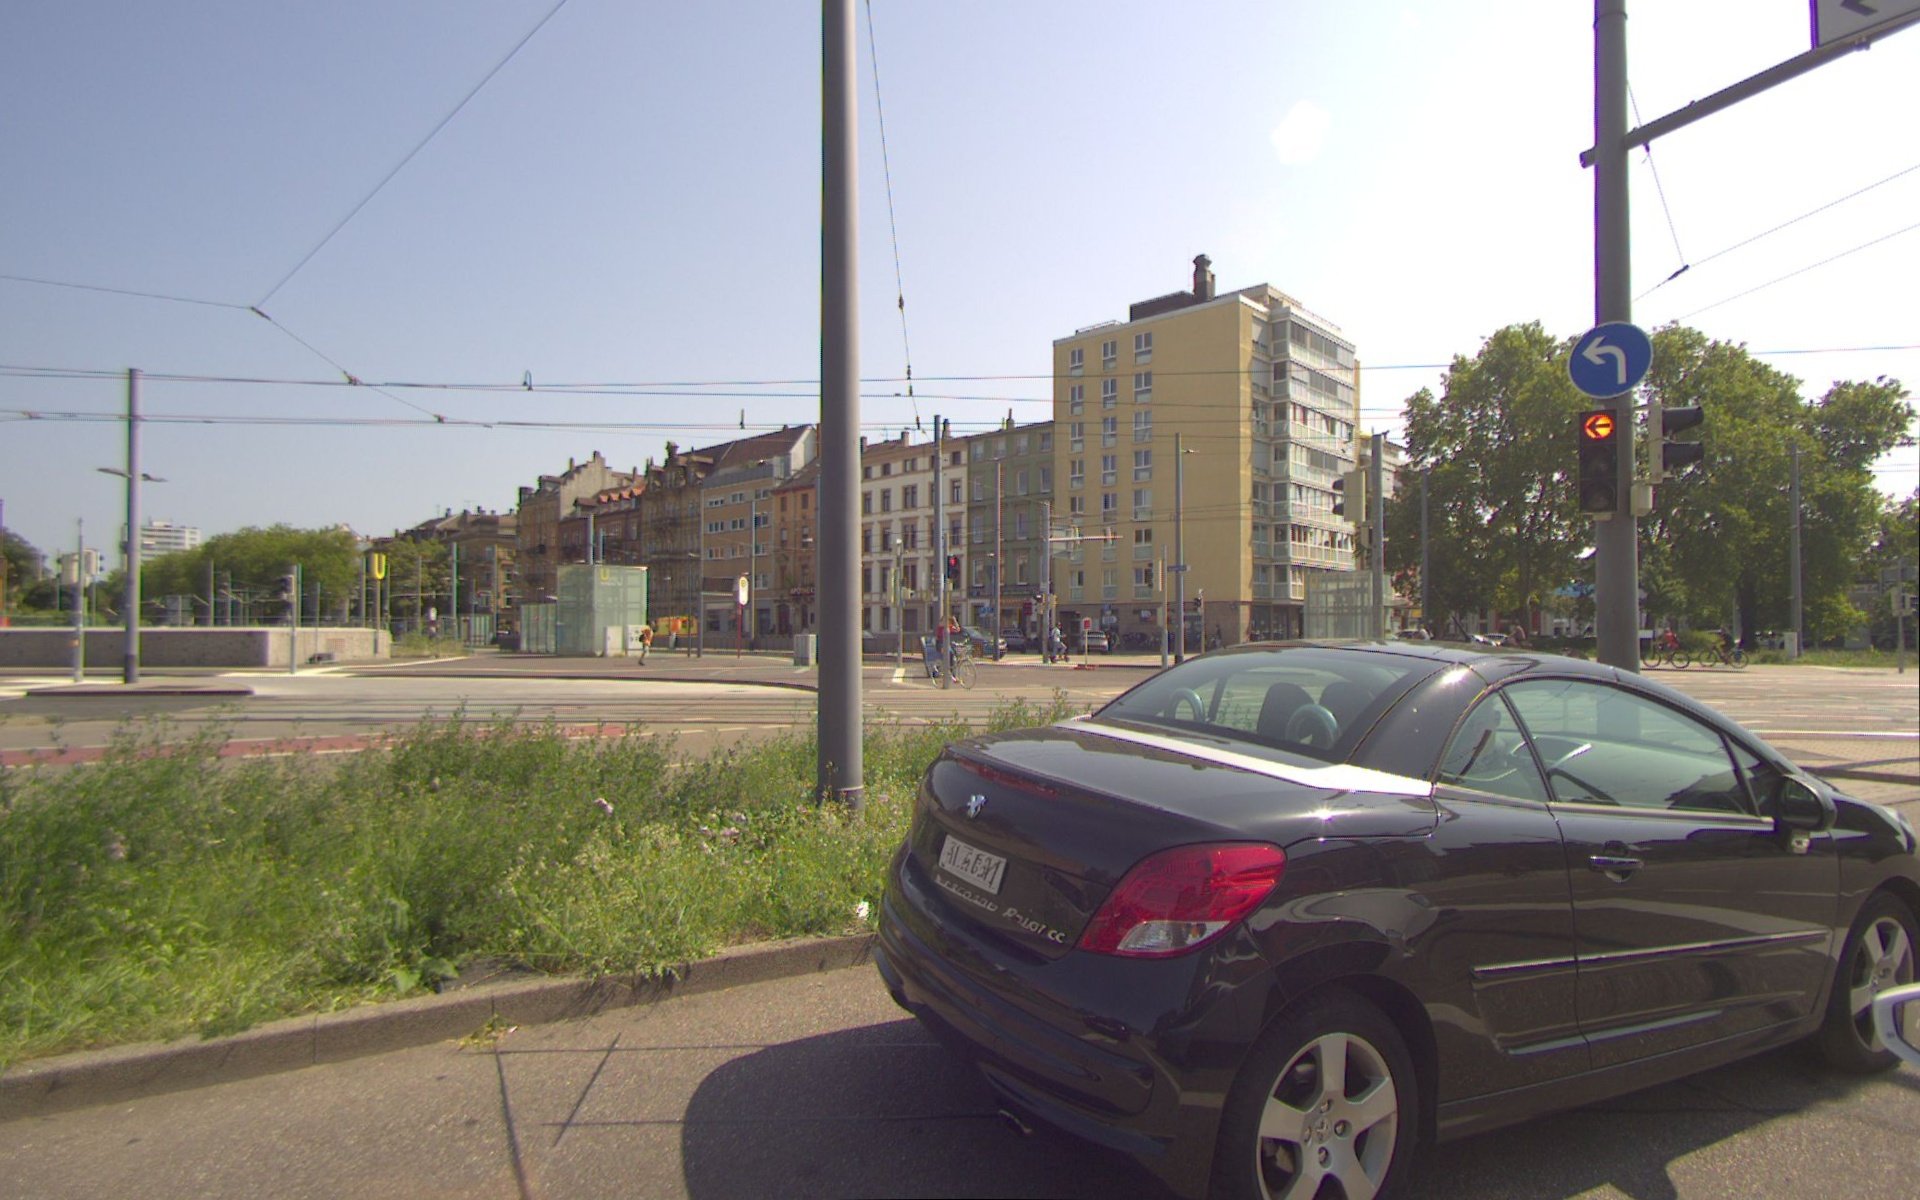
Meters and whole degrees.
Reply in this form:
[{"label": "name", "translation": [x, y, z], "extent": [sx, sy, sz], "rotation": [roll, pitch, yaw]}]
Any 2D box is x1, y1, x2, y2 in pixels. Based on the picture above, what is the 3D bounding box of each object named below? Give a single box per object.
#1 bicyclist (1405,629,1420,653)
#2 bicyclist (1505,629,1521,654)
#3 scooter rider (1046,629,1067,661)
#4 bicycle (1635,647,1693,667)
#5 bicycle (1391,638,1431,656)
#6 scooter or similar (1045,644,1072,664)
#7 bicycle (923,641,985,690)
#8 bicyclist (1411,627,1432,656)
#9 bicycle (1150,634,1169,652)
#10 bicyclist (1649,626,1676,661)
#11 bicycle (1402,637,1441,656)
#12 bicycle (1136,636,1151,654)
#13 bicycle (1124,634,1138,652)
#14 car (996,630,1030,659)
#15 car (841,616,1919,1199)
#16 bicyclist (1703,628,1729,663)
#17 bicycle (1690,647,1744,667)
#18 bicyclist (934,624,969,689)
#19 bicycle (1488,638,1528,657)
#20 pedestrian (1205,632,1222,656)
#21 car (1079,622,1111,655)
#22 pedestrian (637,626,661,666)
[{"label": "bicyclist", "translation": [24.925, 2.280, 55.318], "extent": [0.555, 1.310, 0.540], "rotation": [2, -2, -41]}, {"label": "bicyclist", "translation": [28.465, 2.138, 51.700], "extent": [0.555, 1.310, 0.540], "rotation": [2, -2, -41]}, {"label": "scooter rider", "translation": [4.250, 1.972, 44.302], "extent": [0.602, 1.371, 0.682], "rotation": [1, -2, -35]}, {"label": "bicycle", "translation": [30.499, 2.474, 43.548], "extent": [0.476, 0.813, 2.030], "rotation": [2, -2, -41]}, {"label": "bicycle", "translation": [24.899, 2.596, 55.448], "extent": [0.464, 0.954, 2.014], "rotation": [2, -2, -41]}, {"label": "scooter or similar", "translation": [4.355, 2.364, 44.245], "extent": [1.132, 0.835, 0.517], "rotation": [1, -2, -35]}, {"label": "bicycle", "translation": [-0.171, 1.553, 24.181], "extent": [0.499, 1.108, 1.918], "rotation": [1, -2, -35]}, {"label": "bicyclist", "translation": [24.201, 2.174, 52.630], "extent": [0.898, 1.528, 0.557], "rotation": [-1, -2, 37]}, {"label": "bicycle", "translation": [13.376, 2.875, 67.496], "extent": [0.892, 1.220, 3.265], "rotation": [0, -2, 5]}, {"label": "bicyclist", "translation": [30.487, 1.882, 43.580], "extent": [0.493, 1.502, 0.863], "rotation": [2, -2, -41]}, {"label": "bicycle", "translation": [24.168, 2.435, 52.659], "extent": [1.790, 0.954, 0.566], "rotation": [-1, -2, 36]}, {"label": "bicycle", "translation": [12.493, 3.052, 68.419], "extent": [0.680, 1.220, 3.265], "rotation": [0, -2, 5]}, {"label": "bicycle", "translation": [11.768, 2.936, 69.169], "extent": [0.680, 1.220, 2.793], "rotation": [0, -2, 5]}, {"label": "car", "translation": [3.522, 2.921, 66.417], "extent": [1.767, 1.843, 4.003], "rotation": [0, -2, 10]}, {"label": "car", "translation": [1.645, 0.799, 3.505], "extent": [3.731, 1.406, 1.760], "rotation": [1, 0, -26]}, {"label": "bicyclist", "translation": [33.129, 1.995, 44.012], "extent": [0.861, 1.495, 0.543], "rotation": [-1, -2, 43]}, {"label": "bicycle", "translation": [33.151, 2.487, 43.982], "extent": [1.836, 0.813, 0.604], "rotation": [-1, -2, 43]}, {"label": "bicyclist", "translation": [-0.203, 1.358, 24.339], "extent": [0.632, 1.529, 0.553], "rotation": [1, -2, -36]}, {"label": "bicycle", "translation": [28.349, 2.443, 51.954], "extent": [0.413, 0.954, 1.798], "rotation": [2, -2, -41]}, {"label": "pedestrian", "translation": [16.419, 2.832, 65.019], "extent": [0.845, 1.563, 0.740], "rotation": [-1, -2, 38]}, {"label": "car", "translation": [8.345, 2.336, 61.774], "extent": [1.767, 1.951, 4.003], "rotation": [0, -2, 10]}, {"label": "pedestrian", "translation": [-12.340, 1.803, 39.813], "extent": [0.846, 1.563, 0.740], "rotation": [1, -2, -22]}]
